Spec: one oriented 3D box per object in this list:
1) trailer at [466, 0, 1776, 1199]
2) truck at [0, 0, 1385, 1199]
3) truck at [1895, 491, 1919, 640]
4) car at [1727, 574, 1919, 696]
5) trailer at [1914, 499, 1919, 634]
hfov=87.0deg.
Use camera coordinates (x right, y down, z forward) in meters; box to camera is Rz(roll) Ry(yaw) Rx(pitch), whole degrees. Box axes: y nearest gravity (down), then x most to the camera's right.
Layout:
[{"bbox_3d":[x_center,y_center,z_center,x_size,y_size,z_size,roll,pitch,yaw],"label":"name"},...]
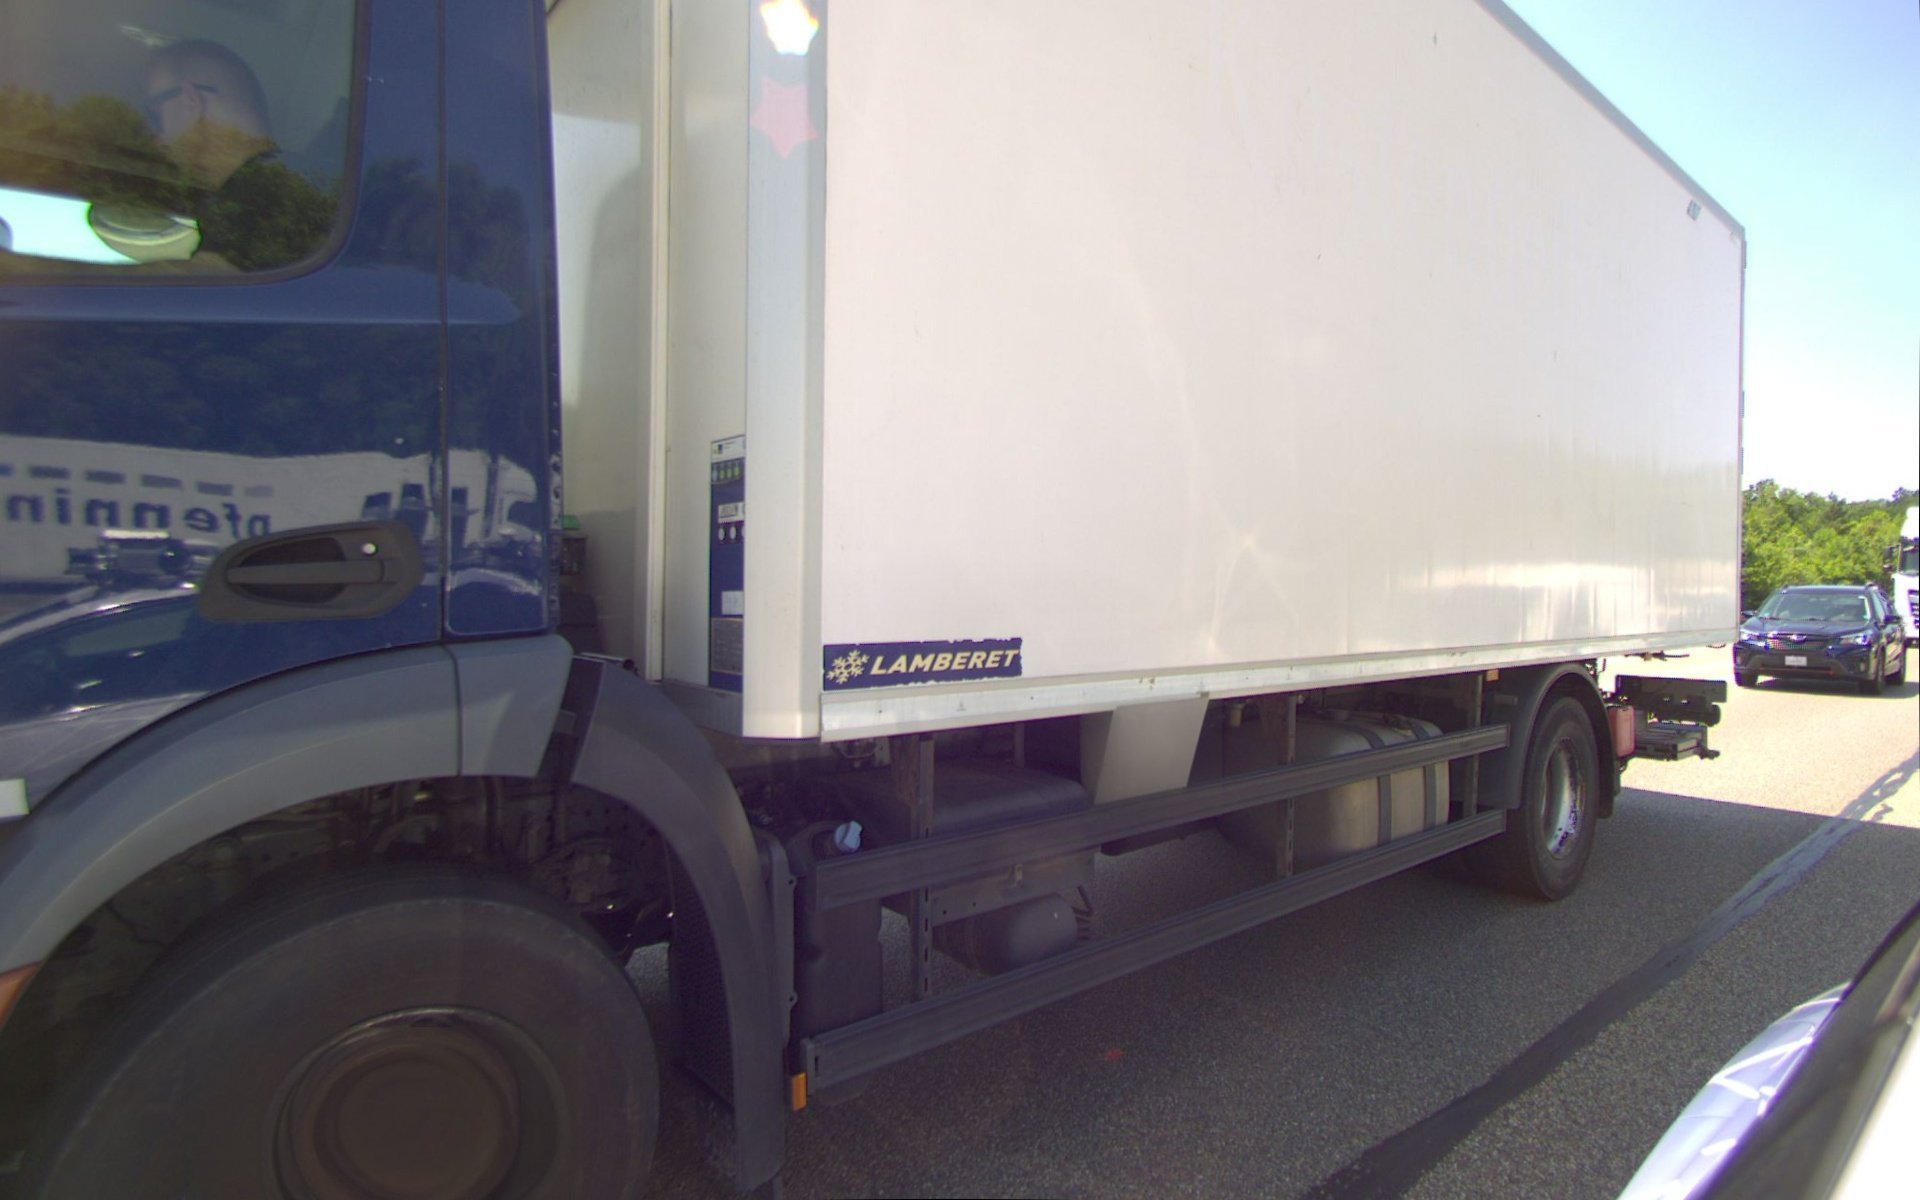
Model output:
[{"bbox_3d":[1.875,-0.143,5.403,7.744,2.936,2.560,0,0,-41],"label":"trailer"},{"bbox_3d":[-1.036,-0.086,2.890,4.031,2.977,2.562,-1,2,-39],"label":"truck"},{"bbox_3d":[30.027,-1.026,29.815,7.205,4.135,2.765,-1,1,-40],"label":"truck"},{"bbox_3d":[14.477,0.448,16.833,4.534,1.713,1.996,-1,3,-43],"label":"car"},{"bbox_3d":[34.519,-1.091,33.673,11.414,4.134,2.765,-1,3,-41],"label":"trailer"}]
